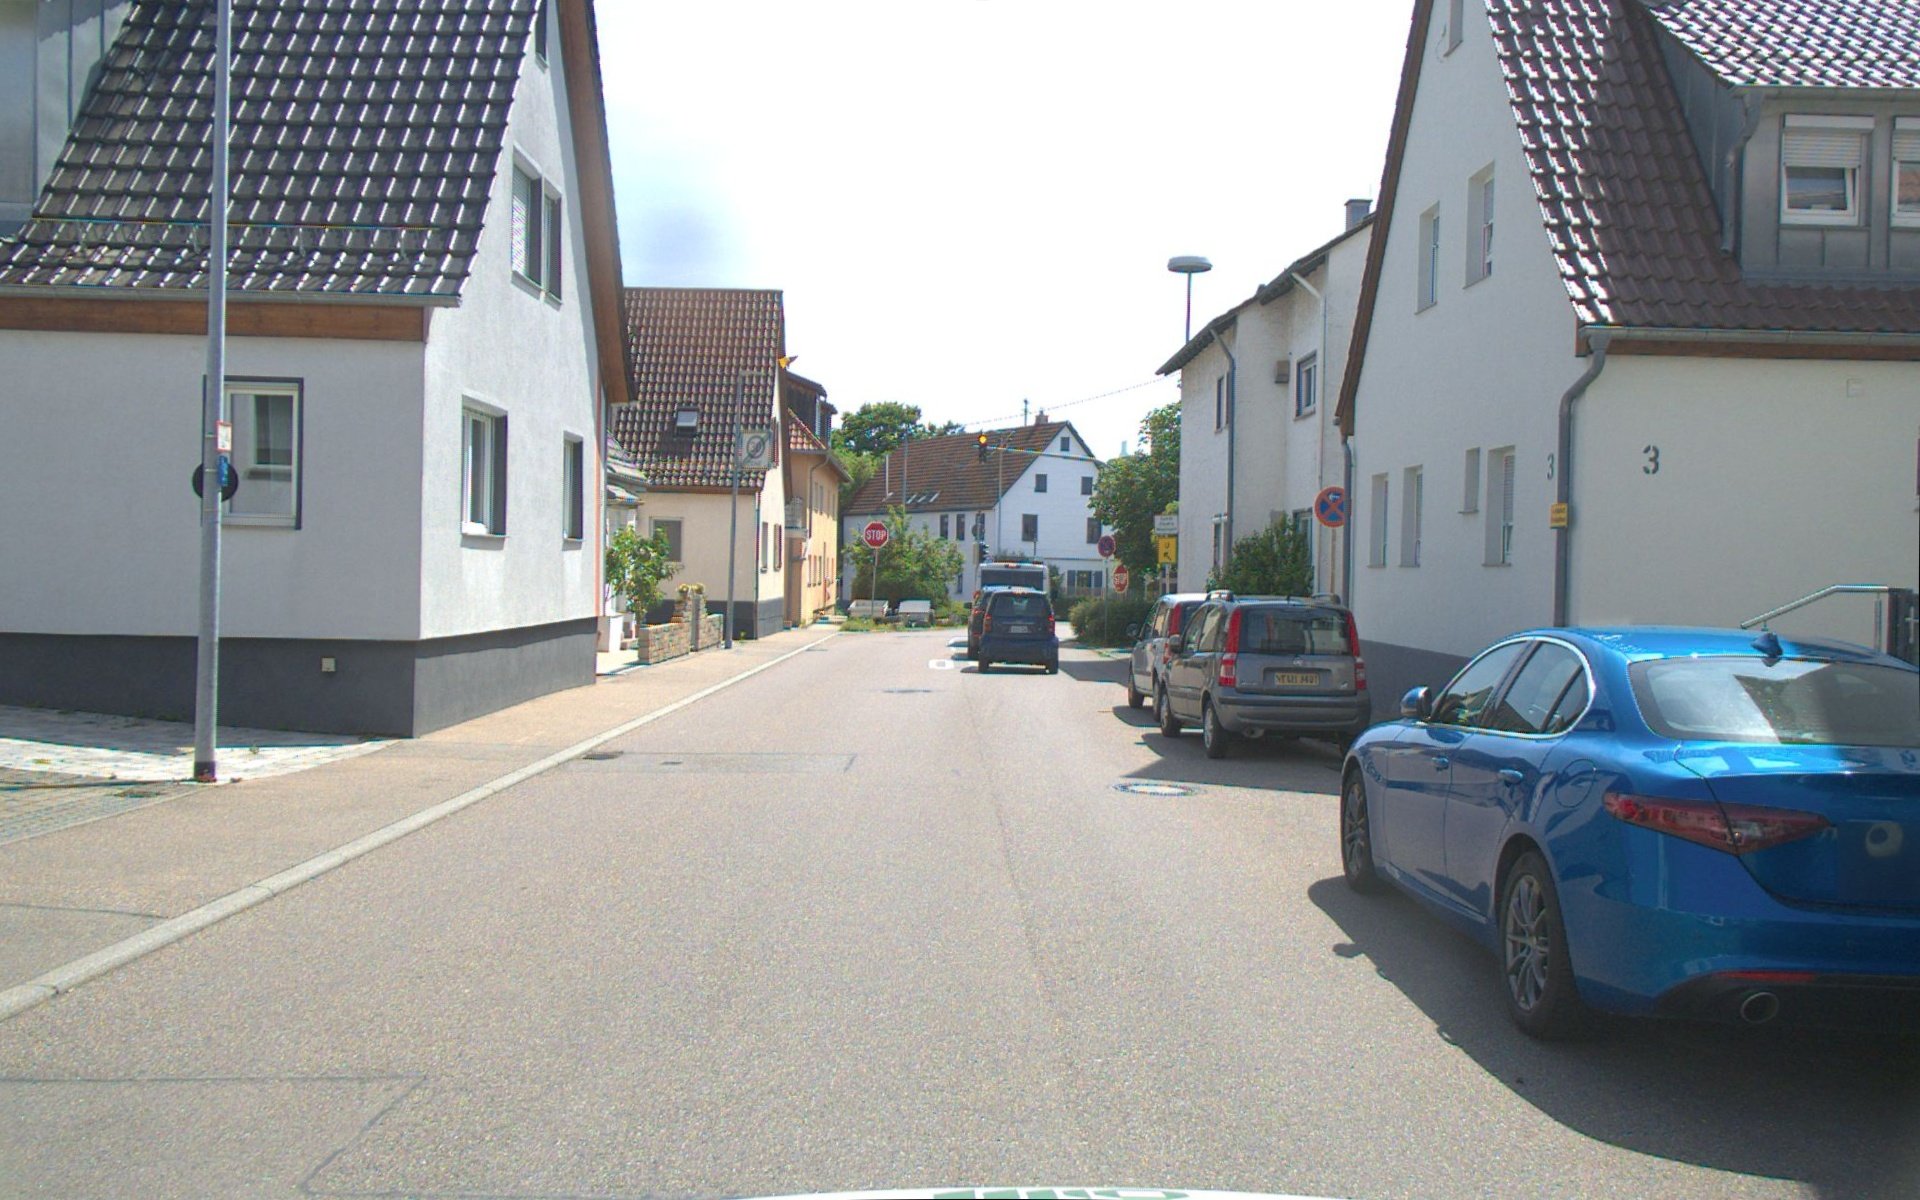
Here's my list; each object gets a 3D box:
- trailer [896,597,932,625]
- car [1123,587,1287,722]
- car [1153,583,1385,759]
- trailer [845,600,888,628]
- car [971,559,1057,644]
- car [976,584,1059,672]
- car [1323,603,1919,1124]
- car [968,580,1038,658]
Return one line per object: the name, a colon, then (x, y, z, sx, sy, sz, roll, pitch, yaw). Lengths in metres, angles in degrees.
trailer: (-1.697, 0.409, 61.695, 1.284, 0.987, 0.933, 1, 0, 1)
car: (3.047, 0.631, 21.123, 1.468, 1.539, 3.361, 2, 0, -2)
car: (3.041, 0.644, 16.913, 1.536, 1.572, 3.447, 2, 0, -3)
trailer: (-3.493, 0.517, 61.746, 1.471, 0.943, 1.012, 3, 0, 0)
car: (1.575, 0.030, 46.182, 2.084, 2.196, 4.739, 1, 0, 5)
car: (1.133, 0.505, 32.140, 1.484, 1.594, 3.185, 1, 0, 3)
car: (2.921, 0.783, 7.092, 1.727, 1.448, 4.592, 2, 0, 0)
car: (0.995, 0.399, 36.905, 1.484, 1.653, 3.185, 1, 0, 3)
